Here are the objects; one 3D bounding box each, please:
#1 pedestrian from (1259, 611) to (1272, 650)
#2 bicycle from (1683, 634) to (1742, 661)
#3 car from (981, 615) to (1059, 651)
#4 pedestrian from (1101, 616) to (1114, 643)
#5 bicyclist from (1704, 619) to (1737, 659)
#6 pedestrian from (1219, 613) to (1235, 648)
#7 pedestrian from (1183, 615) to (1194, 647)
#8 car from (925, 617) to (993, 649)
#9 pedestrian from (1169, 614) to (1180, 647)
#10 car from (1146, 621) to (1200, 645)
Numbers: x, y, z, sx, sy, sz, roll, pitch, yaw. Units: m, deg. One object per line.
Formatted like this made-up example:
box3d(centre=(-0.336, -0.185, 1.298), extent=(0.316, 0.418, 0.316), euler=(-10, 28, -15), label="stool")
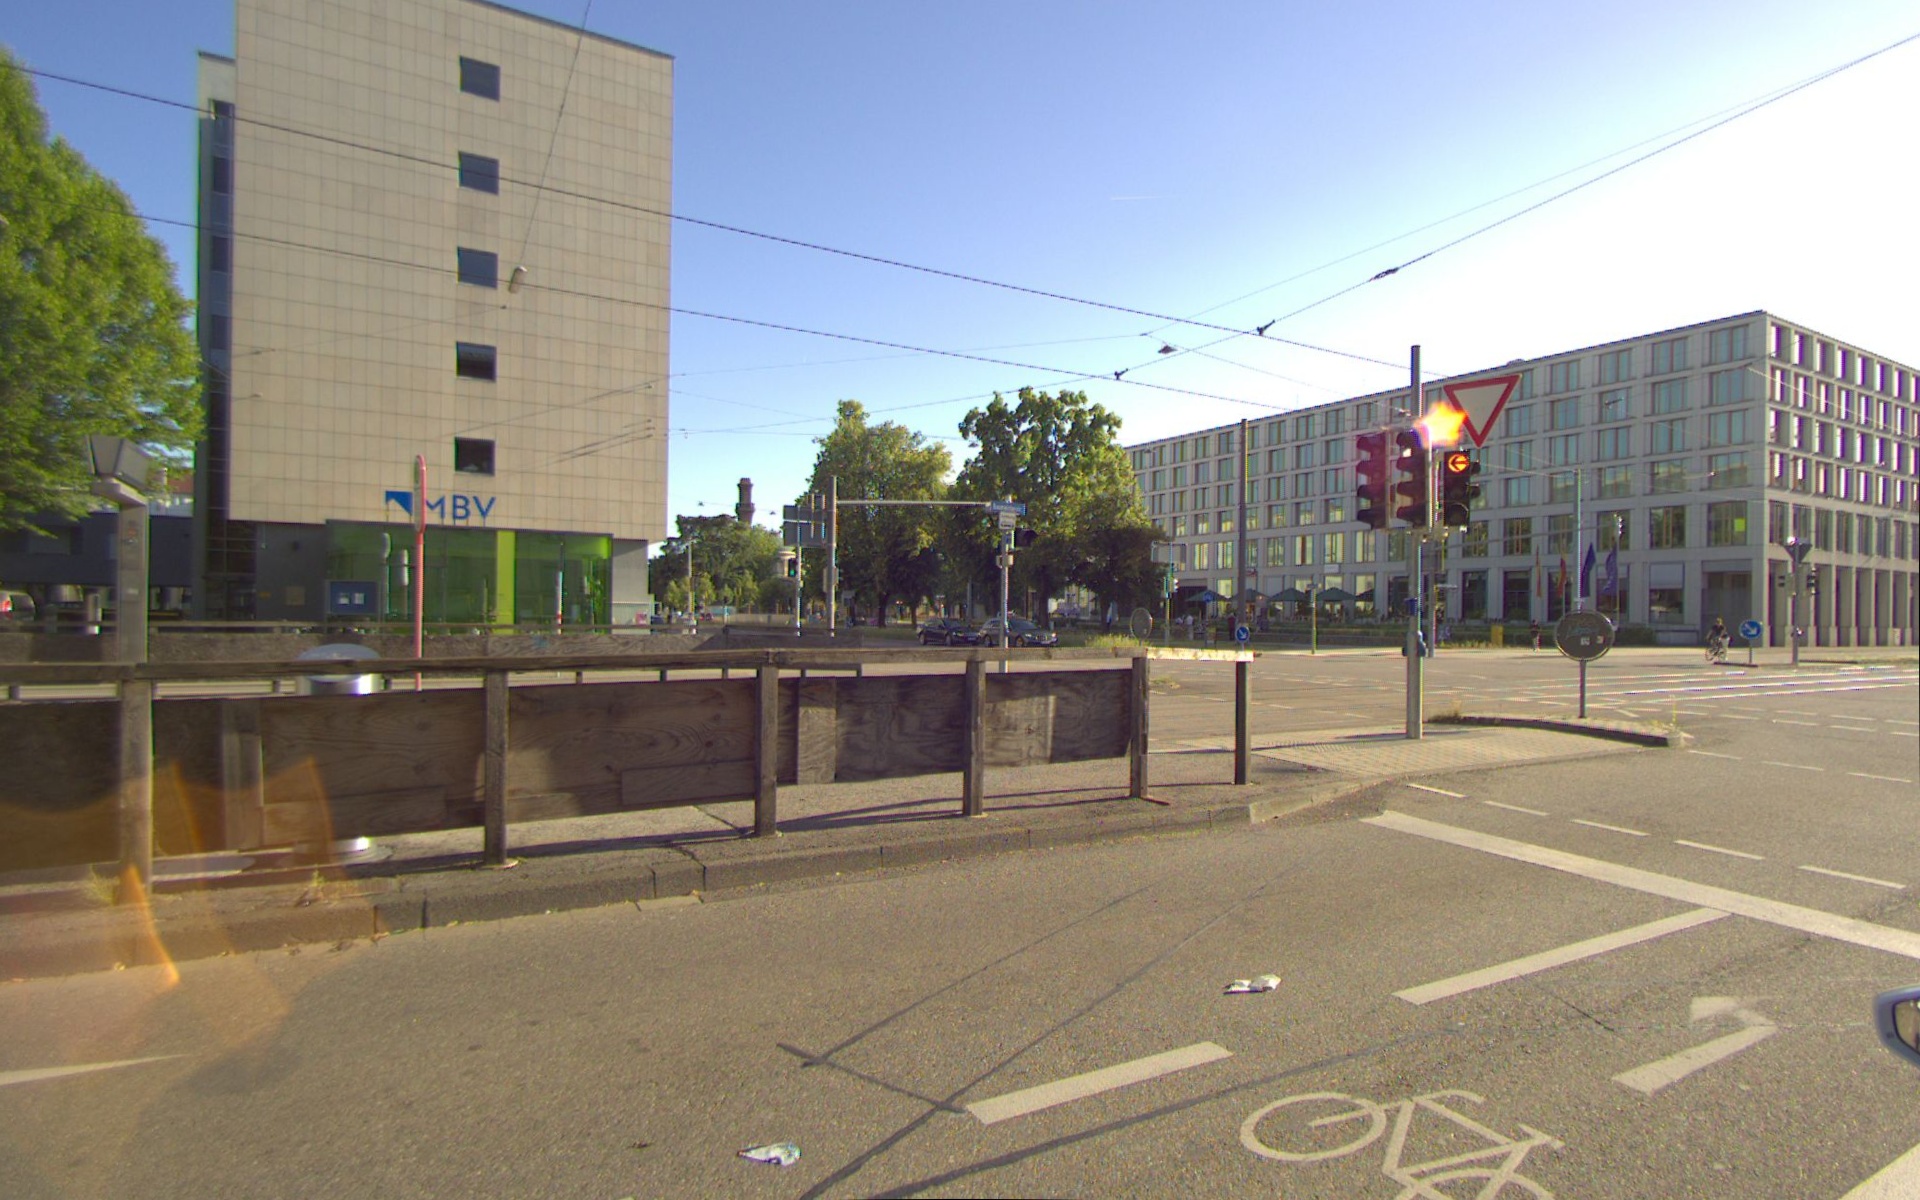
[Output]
box3d(centre=(18.649, 1.859, 61.289), extent=(0.528, 2.310, 0.565), euler=(1, -1, -36), label="pedestrian")
box3d(centre=(31.868, 1.999, 42.516), extent=(2.976, 1.136, 0.871), euler=(1, -1, -29), label="bicycle")
box3d(centre=(2.800, 1.548, 47.637), extent=(1.708, 1.595, 4.140), euler=(1, -1, -31), label="car")
box3d(centre=(10.488, 2.085, 71.362), extent=(0.672, 1.928, 0.560), euler=(1, -1, -21), label="pedestrian")
box3d(centre=(32.397, 1.652, 42.801), extent=(0.812, 1.663, 0.872), euler=(1, -1, -29), label="bicyclist")
box3d(centre=(16.428, 1.856, 61.706), extent=(0.644, 2.095, 0.645), euler=(4, -3, -36), label="pedestrian")
box3d(centre=(14.737, 1.981, 64.765), extent=(0.483, 2.040, 0.493), euler=(1, -1, -17), label="pedestrian")
box3d(centre=(-0.095, 1.699, 52.519), extent=(1.801, 1.595, 3.967), euler=(0, 0, -31), label="car")
box3d(centre=(13.727, 1.952, 64.357), extent=(0.483, 2.040, 0.493), euler=(1, -1, -17), label="pedestrian")
box3d(centre=(13.400, 2.056, 63.282), extent=(1.457, 1.457, 3.162), euler=(1, -1, -37), label="car")
